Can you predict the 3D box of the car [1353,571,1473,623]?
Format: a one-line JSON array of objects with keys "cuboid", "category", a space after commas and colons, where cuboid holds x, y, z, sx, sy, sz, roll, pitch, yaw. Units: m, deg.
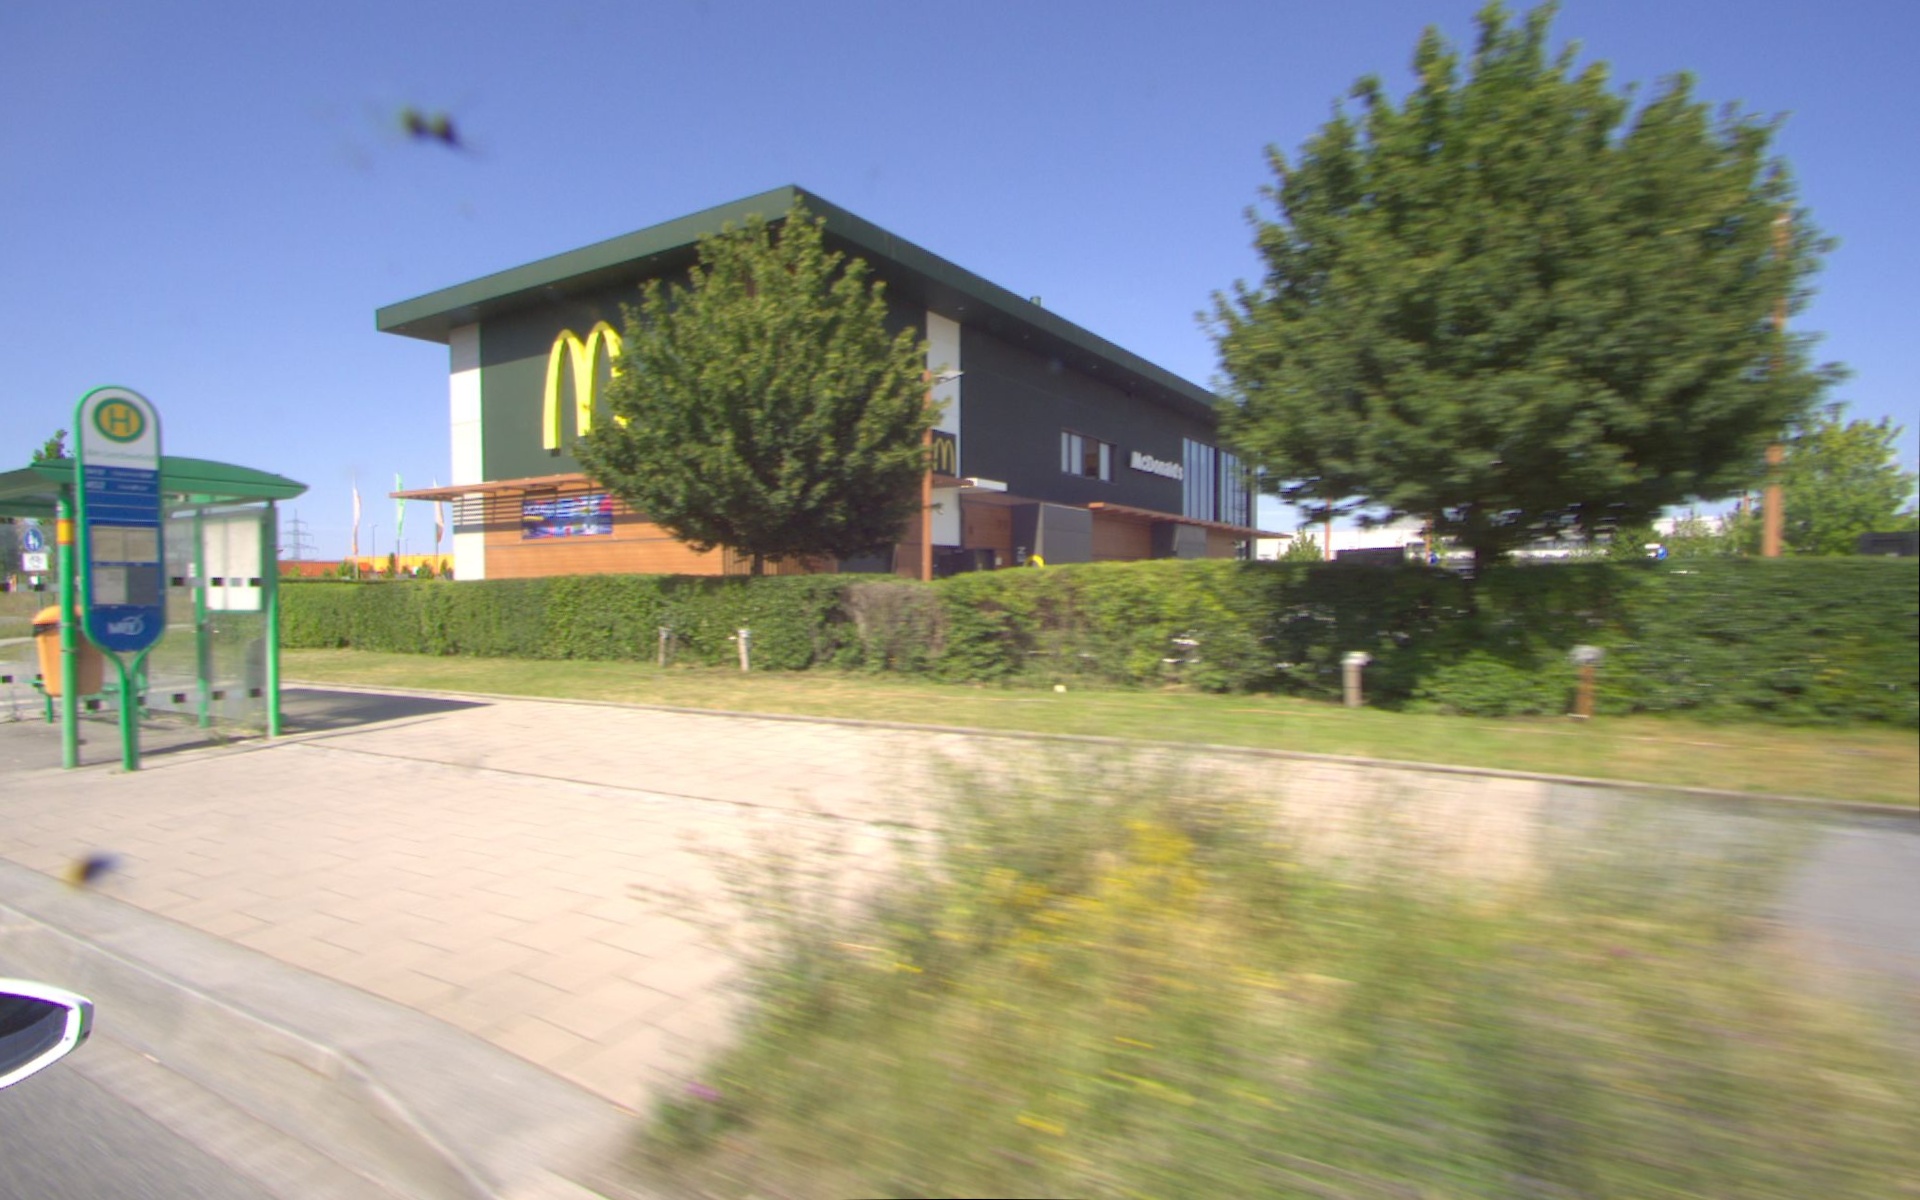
[{"cuboid": [16.073, -0.119, 35.776, 1.766, 1.724, 3.993, -1, 1, -16], "category": "car"}]
